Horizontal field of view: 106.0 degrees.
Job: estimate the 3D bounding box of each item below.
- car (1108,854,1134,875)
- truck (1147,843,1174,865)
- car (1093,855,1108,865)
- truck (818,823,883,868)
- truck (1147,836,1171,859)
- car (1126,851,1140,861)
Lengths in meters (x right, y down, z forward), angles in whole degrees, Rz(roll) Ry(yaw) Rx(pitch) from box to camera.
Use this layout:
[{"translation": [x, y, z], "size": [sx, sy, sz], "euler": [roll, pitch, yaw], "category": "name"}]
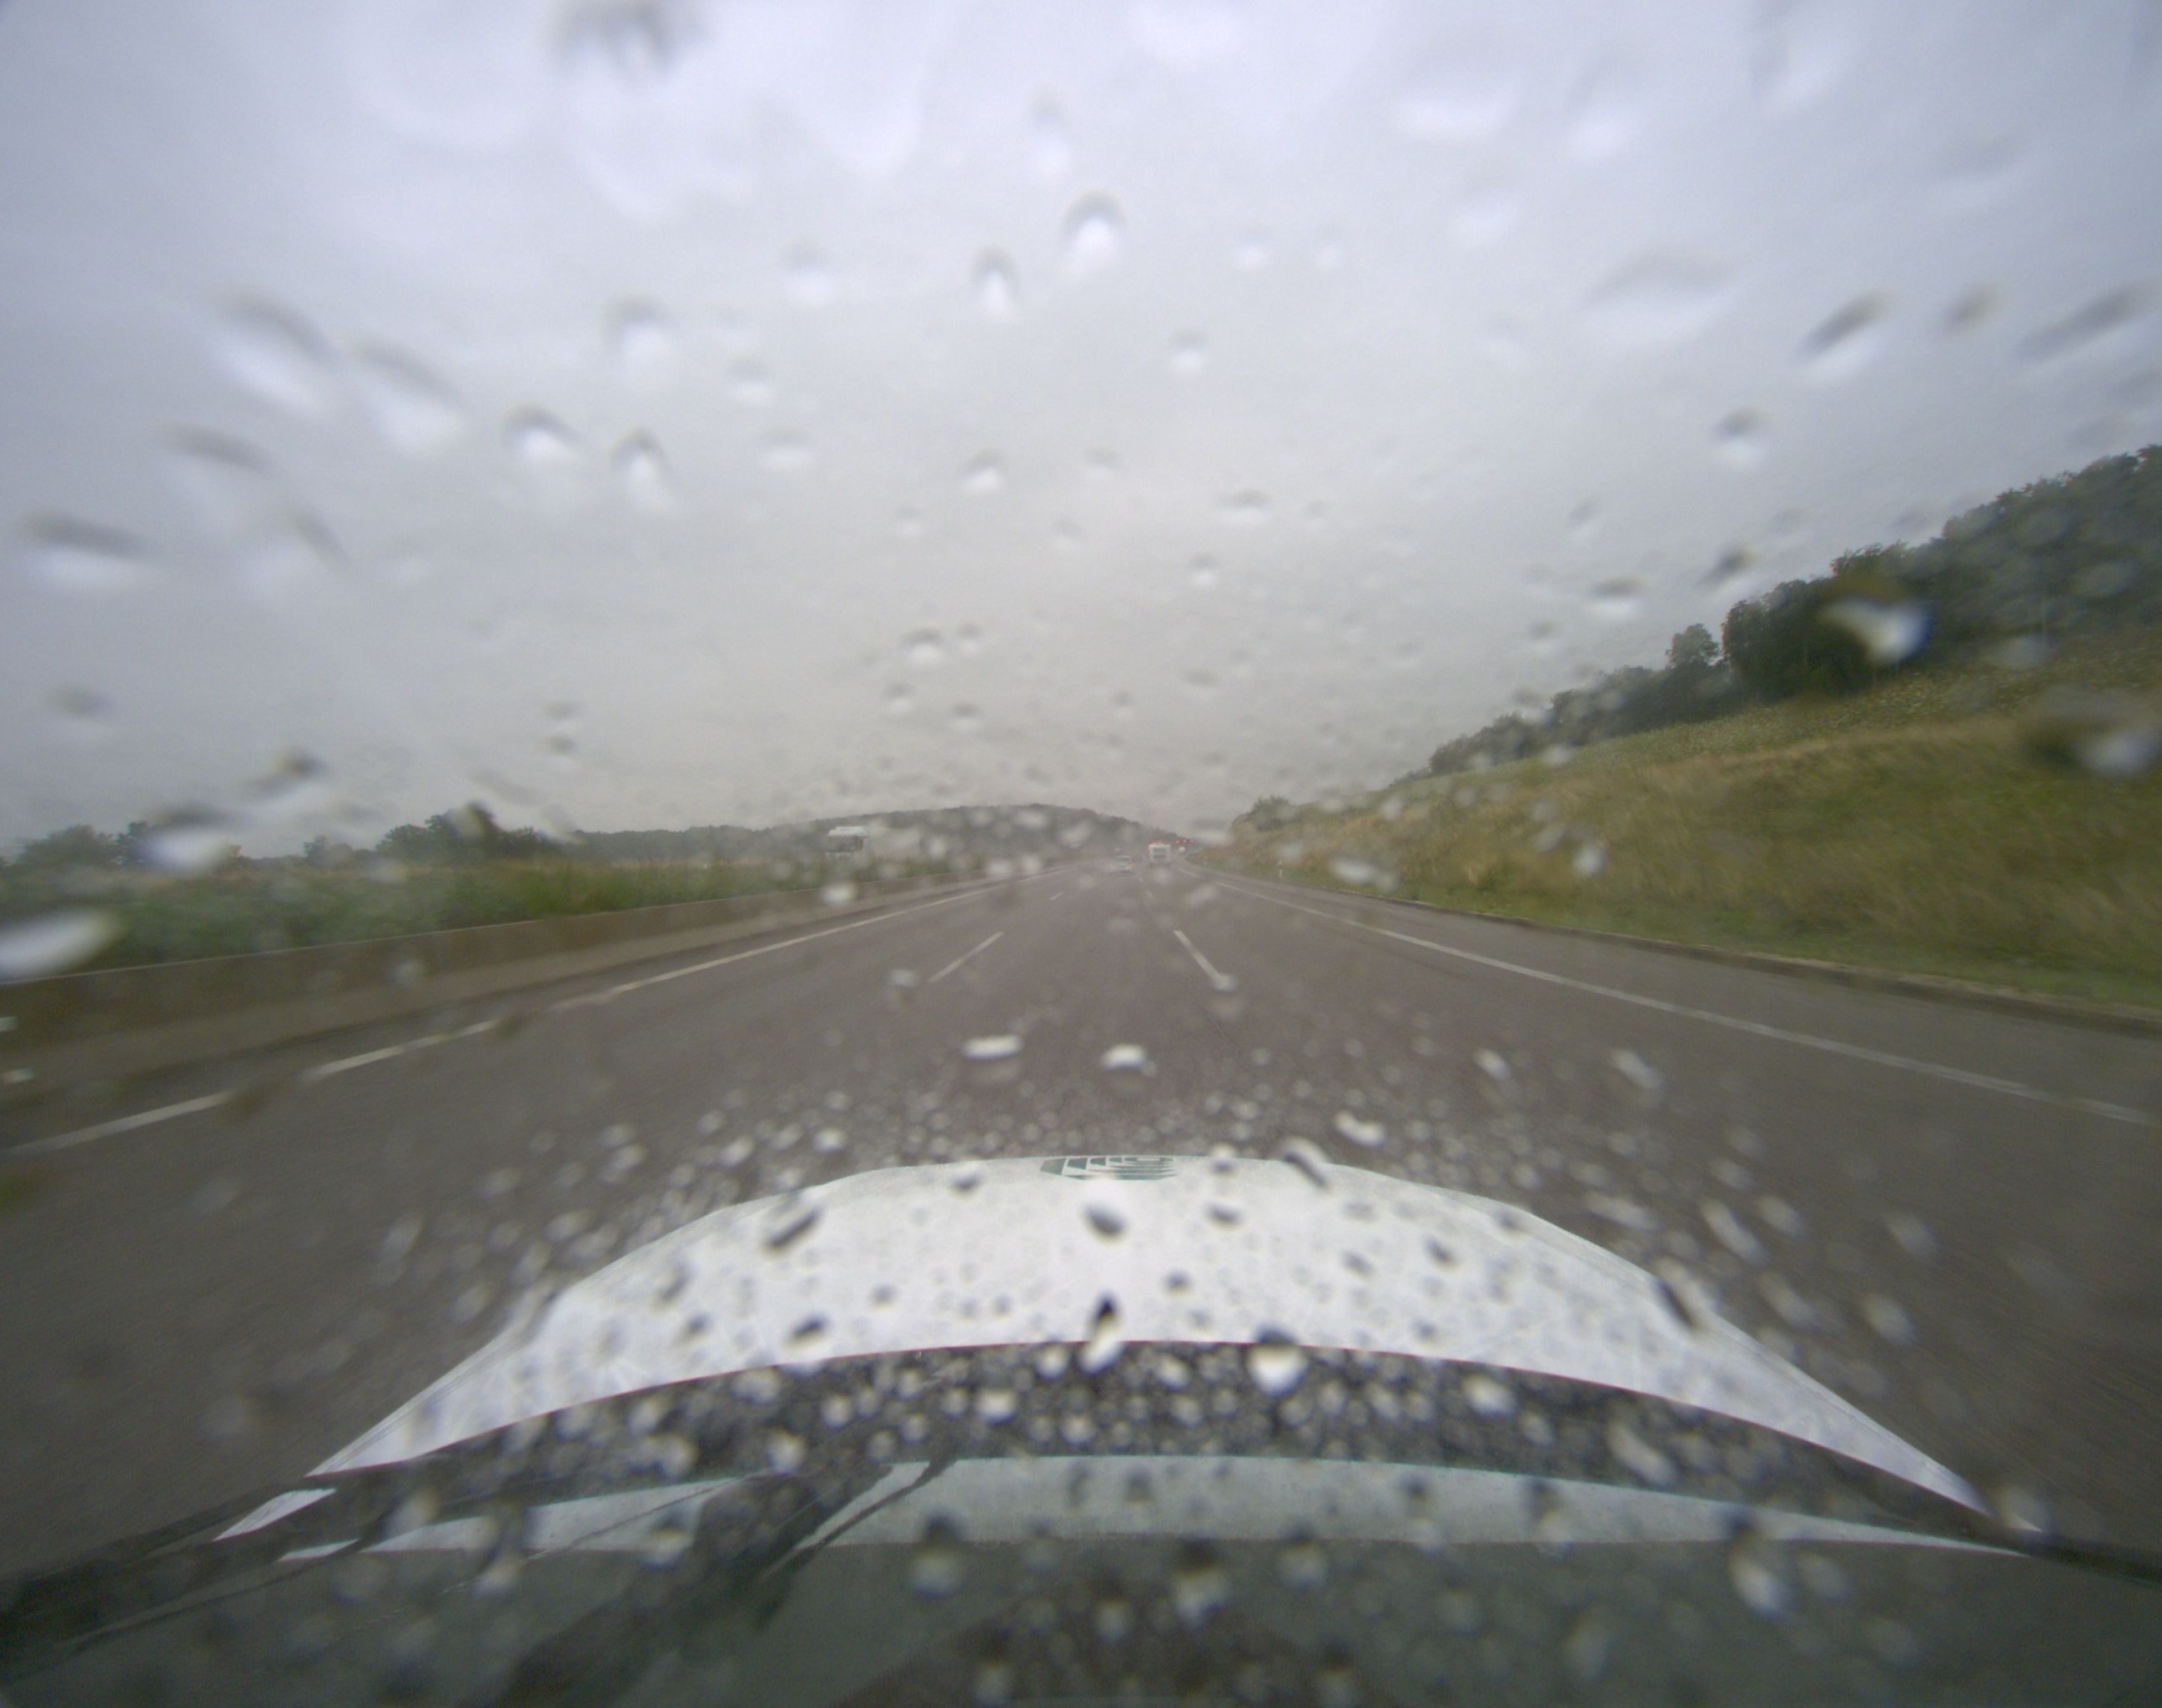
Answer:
[{"translation": [2.972, 0.790, 60.052], "size": [1.859, 1.463, 4.004], "euler": [-1, -1, 4], "category": "car"}, {"translation": [8.476, 0.017, 87.331], "size": [2.399, 2.252, 4.693], "euler": [-1, 0, 1], "category": "truck"}, {"translation": [2.624, 0.831, 109.378], "size": [1.818, 1.156, 4.210], "euler": [-1, -1, -1], "category": "car"}, {"translation": [-16.964, -0.596, 60.329], "size": [2.981, 3.124, 5.600], "euler": [-1, 0, 2], "category": "truck"}, {"translation": [12.963, -1.090, 135.251], "size": [3.508, 3.742, 11.450], "euler": [0, 1, 7], "category": "truck"}, {"translation": [8.695, 0.342, 136.286], "size": [1.988, 1.618, 3.998], "euler": [-1, 0, -1], "category": "car"}]
